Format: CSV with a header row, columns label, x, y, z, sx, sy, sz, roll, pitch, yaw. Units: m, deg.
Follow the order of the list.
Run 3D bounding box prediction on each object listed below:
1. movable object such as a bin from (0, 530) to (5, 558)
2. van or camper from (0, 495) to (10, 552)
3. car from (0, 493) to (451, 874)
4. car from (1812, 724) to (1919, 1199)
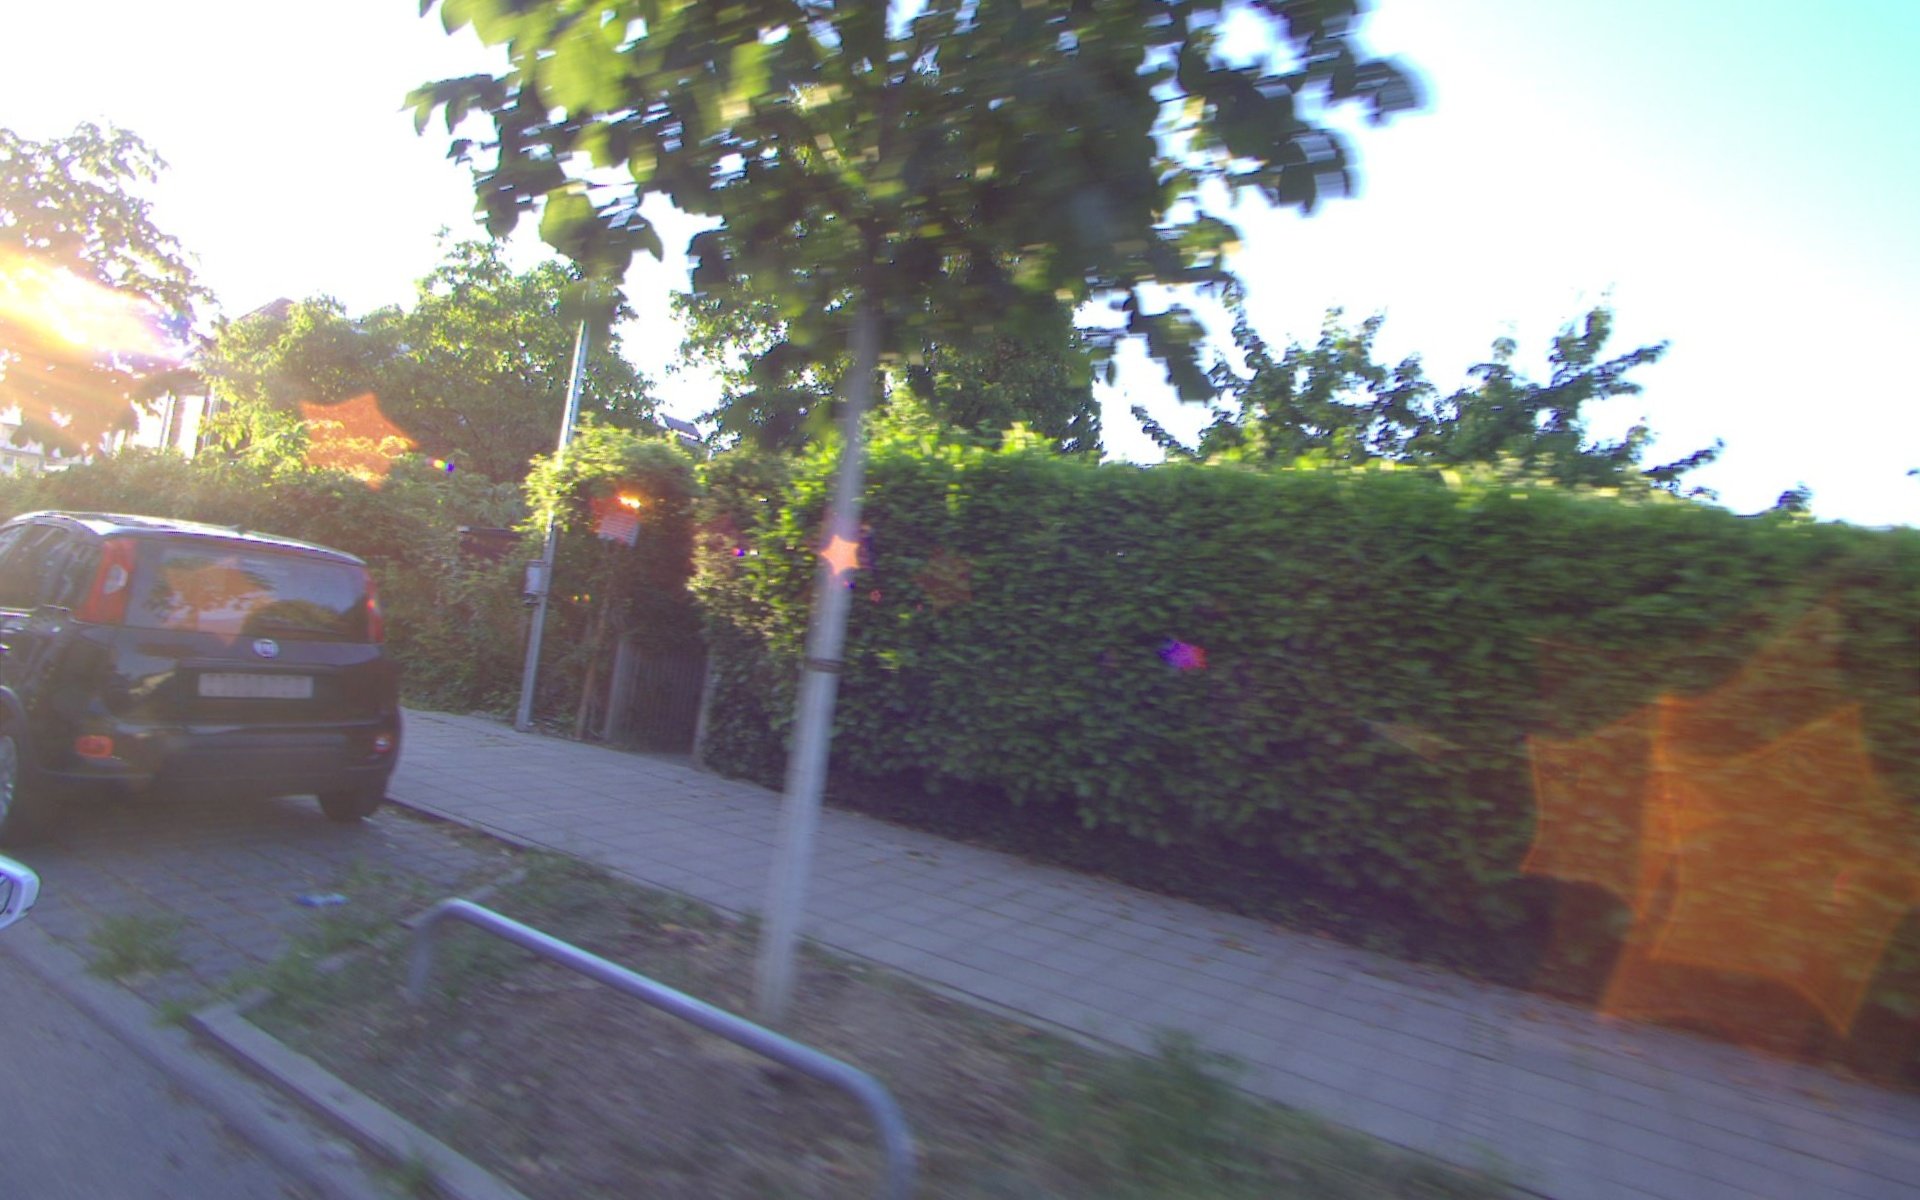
label,x,y,z,sx,sy,sz,roll,pitch,yaw
movable object such as a bin,-36.807,-2.178,38.198,0.678,1.022,0.579,7,-2,39
van or camper,-50.452,-4.217,49.024,2.394,2.822,5.609,7,-2,39
car,-4.665,0.301,5.697,3.441,1.526,1.580,6,-3,35
car,3.611,1.222,0.576,4.472,1.567,1.715,7,-3,31
